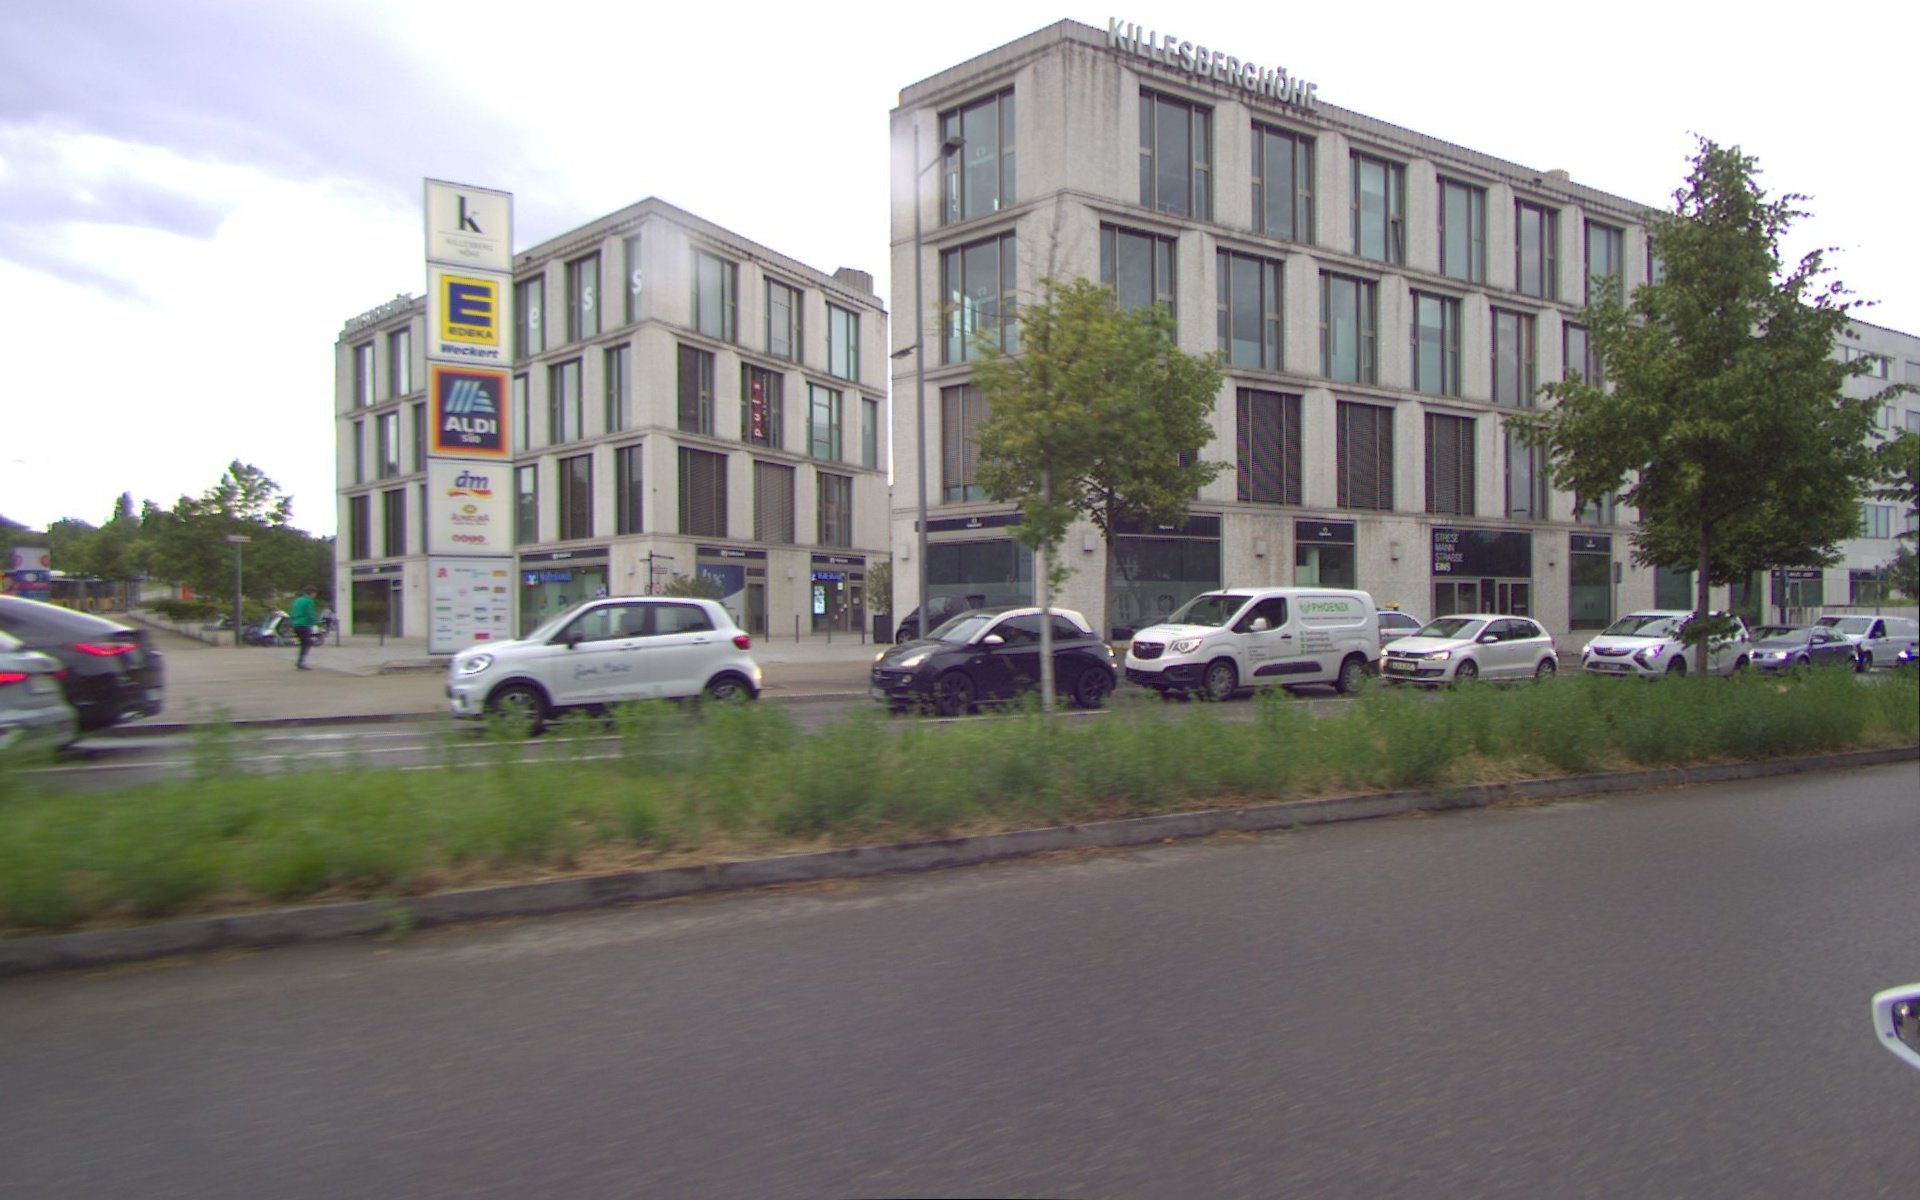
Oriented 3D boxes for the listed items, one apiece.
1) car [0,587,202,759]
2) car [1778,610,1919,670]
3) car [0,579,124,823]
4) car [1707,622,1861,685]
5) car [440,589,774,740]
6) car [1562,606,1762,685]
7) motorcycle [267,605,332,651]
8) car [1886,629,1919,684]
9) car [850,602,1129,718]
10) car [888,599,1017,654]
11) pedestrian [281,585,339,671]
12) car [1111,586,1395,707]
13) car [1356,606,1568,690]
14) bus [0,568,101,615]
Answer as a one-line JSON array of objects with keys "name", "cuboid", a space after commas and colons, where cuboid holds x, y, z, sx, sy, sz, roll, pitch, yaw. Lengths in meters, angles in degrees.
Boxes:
[{"name": "car", "cuboid": [-9.731, 0.684, 9.349, 4.014, 1.539, 1.818, 0, -2, -29]}, {"name": "car", "cuboid": [29.872, 1.344, 33.595, 5.197, 1.840, 2.113, 2, -1, -29]}, {"name": "car", "cuboid": [-8.318, 0.681, 6.512, 4.113, 1.596, 1.840, -1, 1, -29]}, {"name": "car", "cuboid": [21.157, 1.321, 25.780, 3.945, 1.429, 1.635, -1, -1, -28]}, {"name": "car", "cuboid": [-4.287, 0.691, 12.269, 3.655, 1.597, 1.644, -1, -1, -28]}, {"name": "car", "cuboid": [16.110, 0.979, 23.011, 4.614, 1.622, 1.822, -1, -1, -28]}, {"name": "motorcycle", "cuboid": [-21.374, 0.892, 32.507, 1.737, 1.421, 0.523, -1, 1, -35]}, {"name": "car", "cuboid": [30.056, 1.692, 30.471, 3.967, 1.602, 1.688, 1, 0, -28]}, {"name": "car", "cuboid": [0.432, 0.801, 14.648, 3.700, 1.479, 1.709, -1, -1, -26]}, {"name": "car", "cuboid": [-0.228, 0.671, 27.161, 3.244, 1.395, 1.561, 0, 0, 37]}, {"name": "pedestrian", "cuboid": [-13.274, 0.560, 20.517, 0.737, 1.709, 0.681, 0, 0, 3]}, {"name": "car", "cuboid": [5.029, 0.677, 17.110, 4.711, 1.826, 1.836, -1, 1, -28]}, {"name": "car", "cuboid": [9.953, 0.889, 19.882, 4.008, 1.487, 1.737, -1, -1, -28]}, {"name": "bus", "cuboid": [-62.864, -0.566, 69.654, 2.846, 3.029, 9.932, 1, 0, -28]}]
